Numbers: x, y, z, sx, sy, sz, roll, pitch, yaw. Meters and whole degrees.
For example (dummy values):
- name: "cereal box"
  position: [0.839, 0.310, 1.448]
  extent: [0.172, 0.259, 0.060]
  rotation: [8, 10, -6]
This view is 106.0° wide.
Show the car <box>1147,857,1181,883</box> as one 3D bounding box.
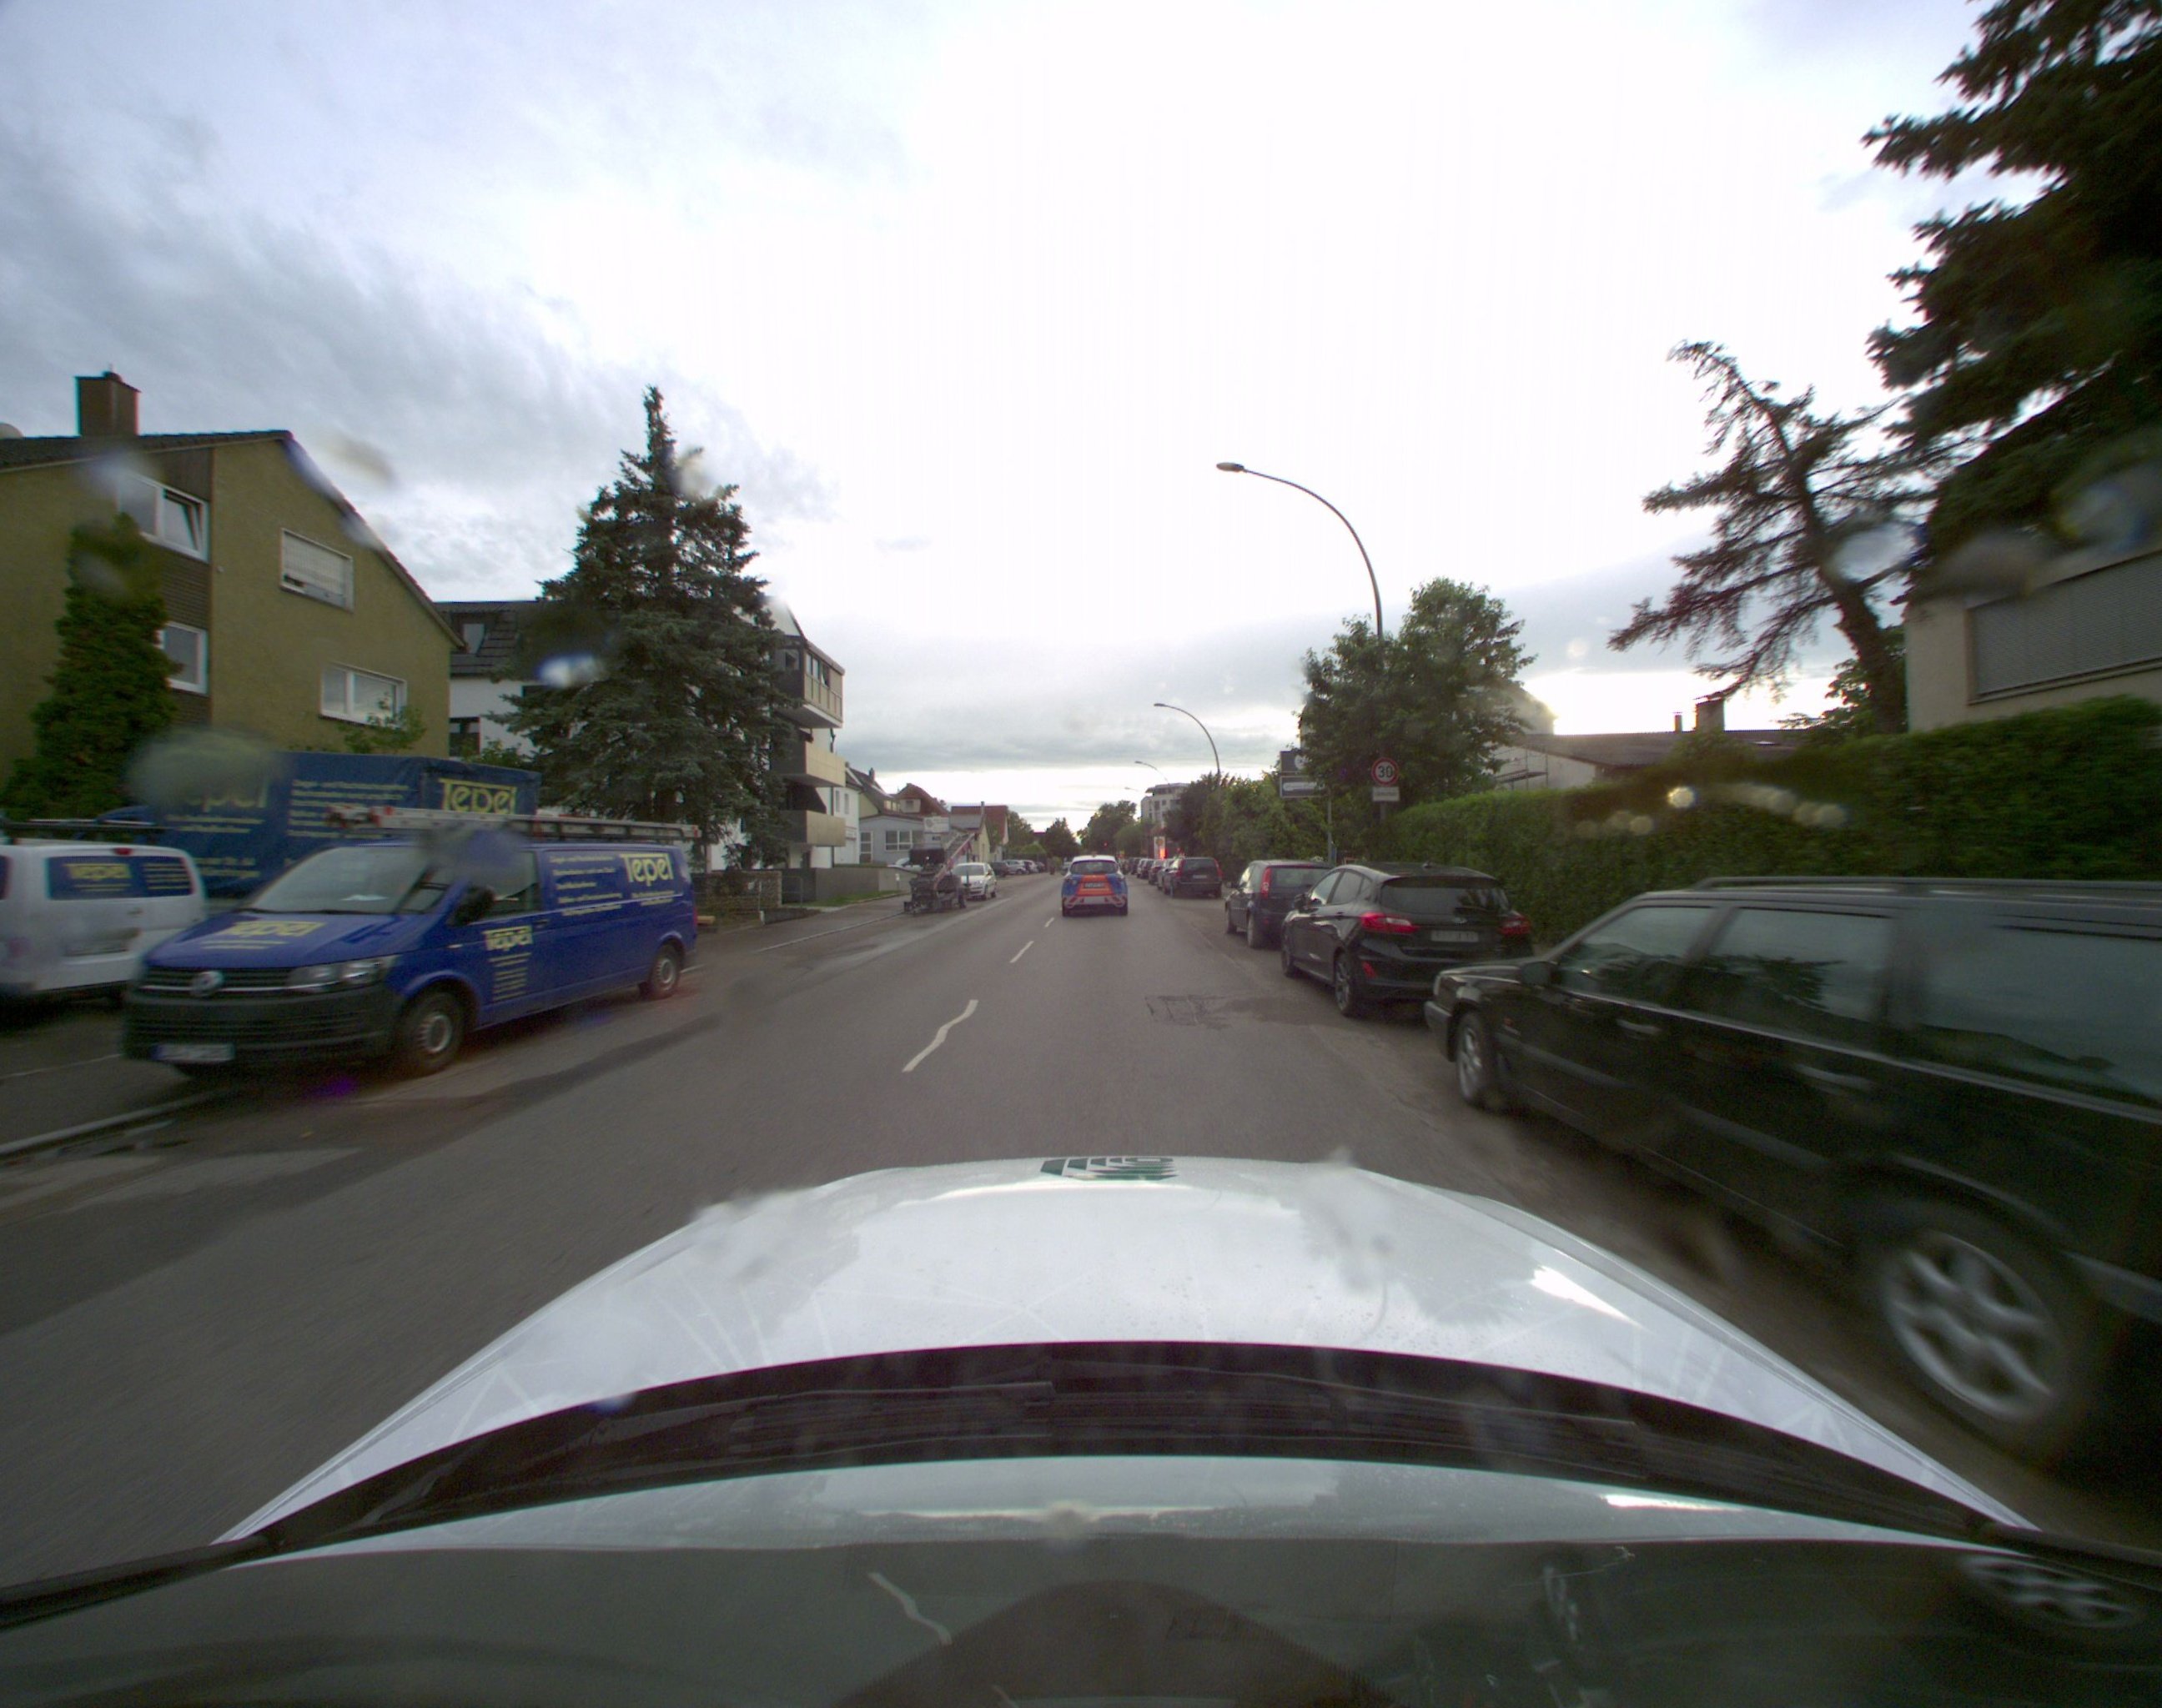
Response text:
- name: "car"
  position: [4.494, 0.864, 44.396]
  extent: [1.599, 1.374, 4.089]
  rotation: [0, -1, 3]

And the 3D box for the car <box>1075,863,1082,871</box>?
- name: "car"
  position: [-0.415, 2.087, 130.258]
  extent: [1.147, 1.232, 3.372]
  rotation: [-1, 0, 0]

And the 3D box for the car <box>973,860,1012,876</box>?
- name: "car"
  position: [-8.267, 1.317, 76.252]
  extent: [3.571, 1.526, 1.654]
  rotation: [1, -1, -3]

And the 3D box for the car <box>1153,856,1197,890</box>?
- name: "car"
  position: [4.165, 0.813, 36.426]
  extent: [1.534, 1.429, 3.750]
  rotation: [-1, 0, 0]

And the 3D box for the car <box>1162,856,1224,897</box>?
- name: "car"
  position: [4.145, 0.814, 30.796]
  extent: [1.706, 1.438, 4.525]
  rotation: [1, -1, 0]

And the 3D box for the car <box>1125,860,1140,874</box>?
- name: "car"
  position: [6.401, 1.584, 101.068]
  extent: [1.644, 1.672, 3.999]
  rotation: [1, -1, 0]

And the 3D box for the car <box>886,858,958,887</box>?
- name: "car"
  position: [-9.121, 1.058, 46.948]
  extent: [3.747, 1.568, 1.655]
  rotation: [1, -1, 0]

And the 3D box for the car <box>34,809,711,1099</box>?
- name: "car"
  position: [-6.019, 0.715, 8.208]
  extent: [1.986, 1.947, 5.366]
  rotation: [0, -1, 1]

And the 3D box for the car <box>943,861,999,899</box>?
- name: "car"
  position: [-4.389, 1.002, 33.047]
  extent: [1.551, 1.433, 4.002]
  rotation: [0, -1, 2]

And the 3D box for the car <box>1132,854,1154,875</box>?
- name: "car"
  position: [4.810, 0.868, 63.349]
  extent: [1.476, 1.555, 3.861]
  rotation: [1, -1, 1]

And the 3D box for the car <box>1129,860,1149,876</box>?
- name: "car"
  position: [5.604, 1.343, 79.301]
  extent: [1.644, 1.522, 3.999]
  rotation: [1, -1, 0]

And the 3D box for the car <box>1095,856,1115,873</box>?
- name: "car"
  position: [2.162, 0.977, 74.241]
  extent: [1.644, 1.522, 3.999]
  rotation: [1, -1, 0]

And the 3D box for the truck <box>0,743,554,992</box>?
- name: "truck"
  position: [-11.154, 0.168, 11.419]
  extent: [5.888, 3.073, 2.451]
  rotation: [0, -1, 2]

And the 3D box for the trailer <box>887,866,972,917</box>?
- name: "trailer"
  position: [-4.684, 1.106, 25.985]
  extent: [1.712, 1.260, 5.244]
  rotation: [1, 1, 0]

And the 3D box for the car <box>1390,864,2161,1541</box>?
- name: "car"
  position: [3.090, 0.764, 3.564]
  extent: [1.651, 1.419, 4.775]
  rotation: [1, -1, 0]

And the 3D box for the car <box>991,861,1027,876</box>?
- name: "car"
  position: [-7.666, 1.517, 86.827]
  extent: [3.750, 1.577, 1.654]
  rotation: [1, -1, -3]

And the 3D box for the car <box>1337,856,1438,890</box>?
- name: "car"
  position: [13.464, 0.816, 35.936]
  extent: [1.549, 1.399, 3.907]
  rotation: [-1, 0, -42]

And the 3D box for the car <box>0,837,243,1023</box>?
- name: "car"
  position: [-11.644, 0.716, 8.641]
  extent: [3.693, 1.750, 1.779]
  rotation: [0, -1, 3]

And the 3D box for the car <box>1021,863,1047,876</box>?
- name: "car"
  position: [-5.954, 1.977, 103.066]
  extent: [3.273, 1.448, 1.478]
  rotation: [-2, 0, -3]

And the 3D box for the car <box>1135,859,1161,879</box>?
- name: "car"
  position: [4.717, 1.015, 58.050]
  extent: [1.644, 1.335, 4.002]
  rotation: [-1, 0, 2]

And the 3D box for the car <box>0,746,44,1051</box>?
- name: "car"
  position: [-10.287, 0.325, 4.047]
  extent: [2.067, 2.567, 6.205]
  rotation: [0, -1, 3]

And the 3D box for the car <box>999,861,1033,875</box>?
- name: "car"
  position: [-7.282, 1.549, 91.184]
  extent: [3.750, 1.483, 1.654]
  rotation: [1, -1, -3]

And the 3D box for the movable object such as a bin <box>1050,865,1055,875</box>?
- name: "movable object such as a bin"
  position: [-3.341, 1.873, 97.035]
  extent: [0.577, 1.204, 0.319]
  rotation: [0, -1, 1]

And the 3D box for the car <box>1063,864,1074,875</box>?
- name: "car"
  position: [-1.701, 2.070, 112.073]
  extent: [1.382, 1.483, 3.783]
  rotation: [-1, -1, 0]

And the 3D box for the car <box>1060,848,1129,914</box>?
- name: "car"
  position: [0.378, 0.713, 22.155]
  extent: [1.725, 1.631, 3.495]
  rotation: [-1, -1, 1]

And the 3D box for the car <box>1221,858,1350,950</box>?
- name: "car"
  position: [3.539, 0.799, 14.722]
  extent: [1.481, 1.439, 3.808]
  rotation: [0, 0, 2]

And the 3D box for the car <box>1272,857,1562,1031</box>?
- name: "car"
  position: [3.310, 0.776, 8.856]
  extent: [1.651, 1.449, 3.830]
  rotation: [1, 0, 1]

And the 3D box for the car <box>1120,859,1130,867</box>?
- name: "car"
  position: [8.664, 1.757, 160.346]
  extent: [1.644, 1.653, 3.999]
  rotation: [1, -1, 0]

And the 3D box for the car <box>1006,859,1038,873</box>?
- name: "car"
  position: [-6.869, 1.397, 95.095]
  extent: [3.645, 1.483, 1.478]
  rotation: [-2, 0, -3]

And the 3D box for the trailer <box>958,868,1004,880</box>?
- name: "trailer"
  position: [-9.036, 1.822, 73.791]
  extent: [4.009, 0.995, 1.655]
  rotation: [1, -1, 0]
